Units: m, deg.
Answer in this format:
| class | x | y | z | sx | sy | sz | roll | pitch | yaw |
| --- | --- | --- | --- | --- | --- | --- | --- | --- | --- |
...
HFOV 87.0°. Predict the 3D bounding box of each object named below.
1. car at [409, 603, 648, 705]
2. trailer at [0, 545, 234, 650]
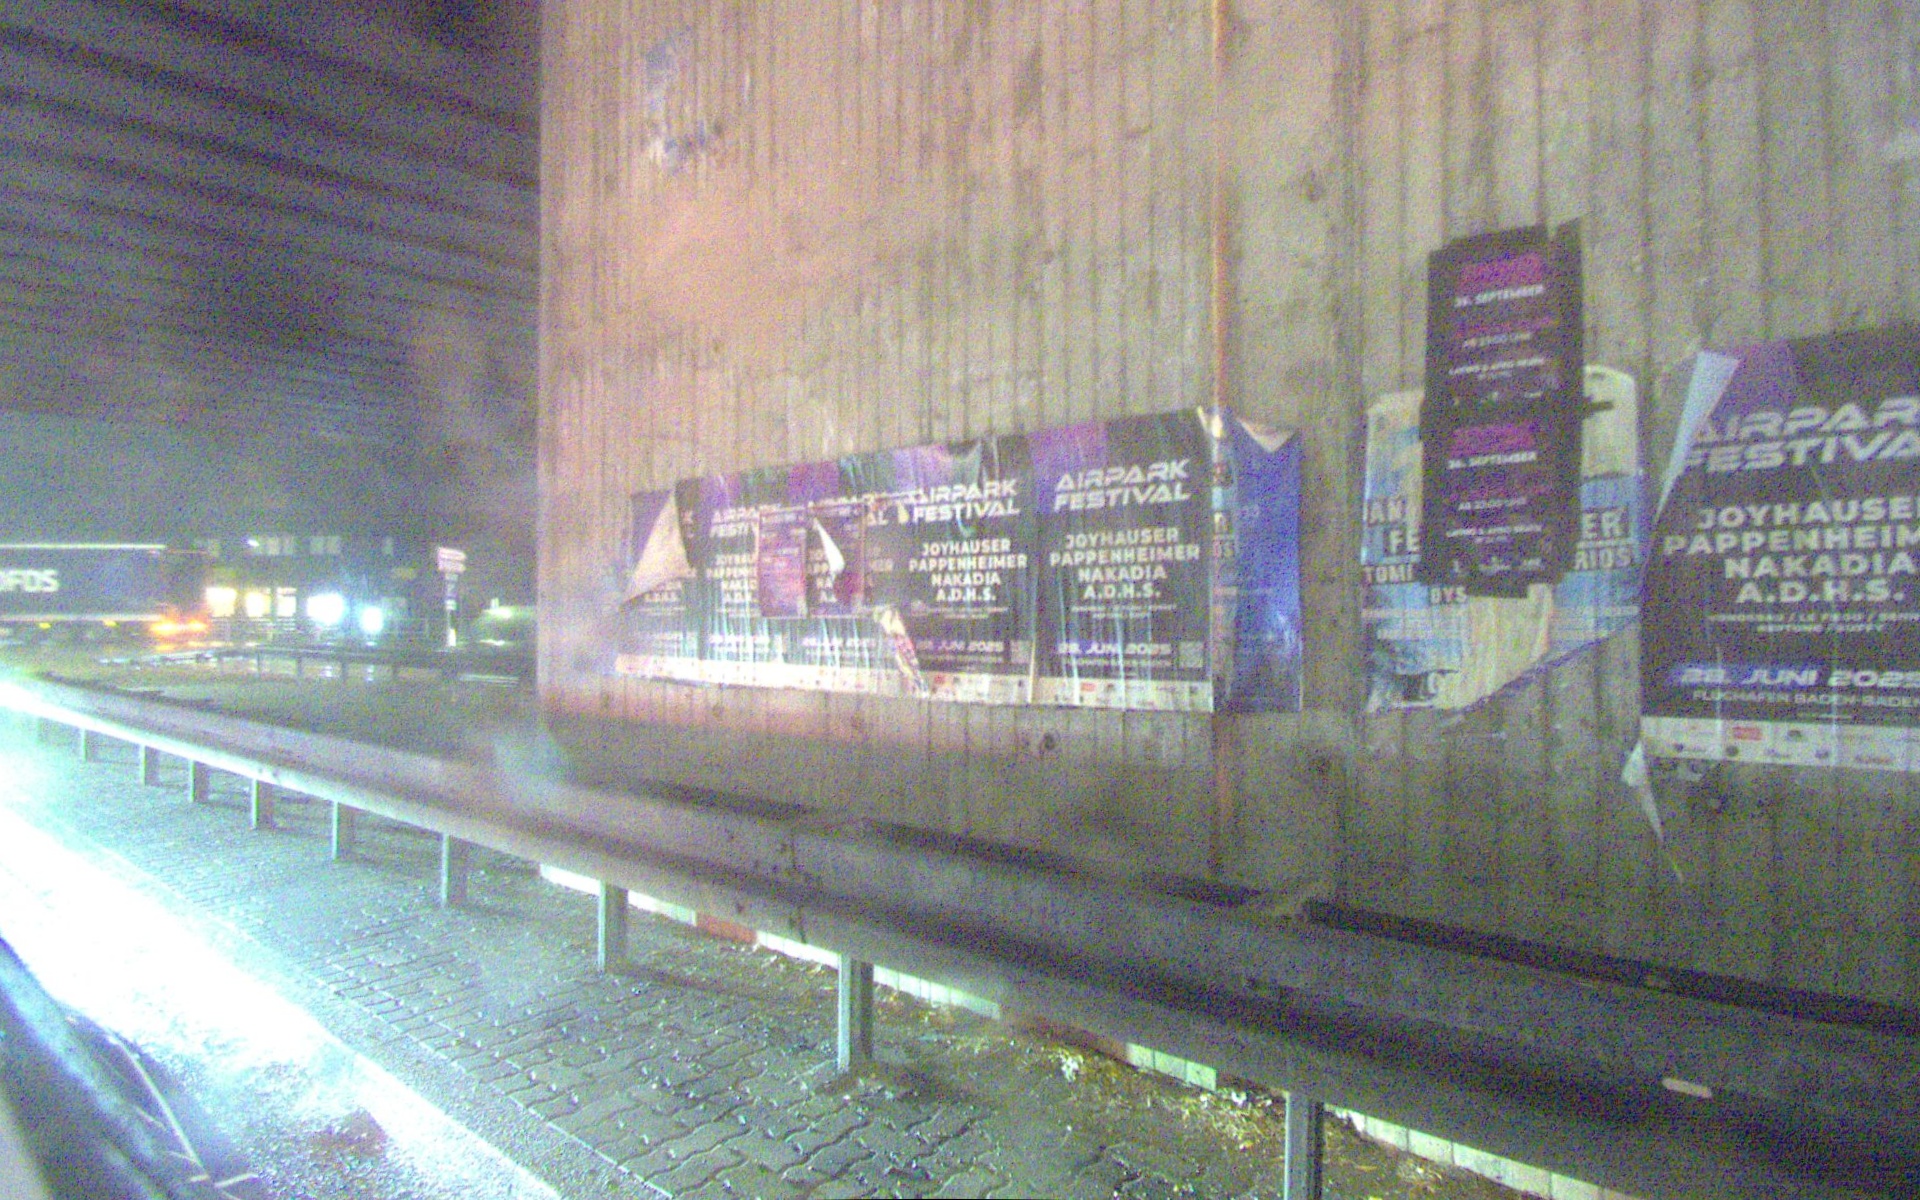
| class | x | y | z | sx | sy | sz | roll | pitch | yaw |
| --- | --- | --- | --- | --- | --- | --- | --- | --- | --- |
| car | -8.528 | 0.969 | 19.844 | 4.904 | 1.754 | 1.949 | -1 | 0 | 34 |
| trailer | -39.476 | -0.076 | 43.153 | 13.707 | 4.208 | 3.975 | -1 | 0 | -5 |
